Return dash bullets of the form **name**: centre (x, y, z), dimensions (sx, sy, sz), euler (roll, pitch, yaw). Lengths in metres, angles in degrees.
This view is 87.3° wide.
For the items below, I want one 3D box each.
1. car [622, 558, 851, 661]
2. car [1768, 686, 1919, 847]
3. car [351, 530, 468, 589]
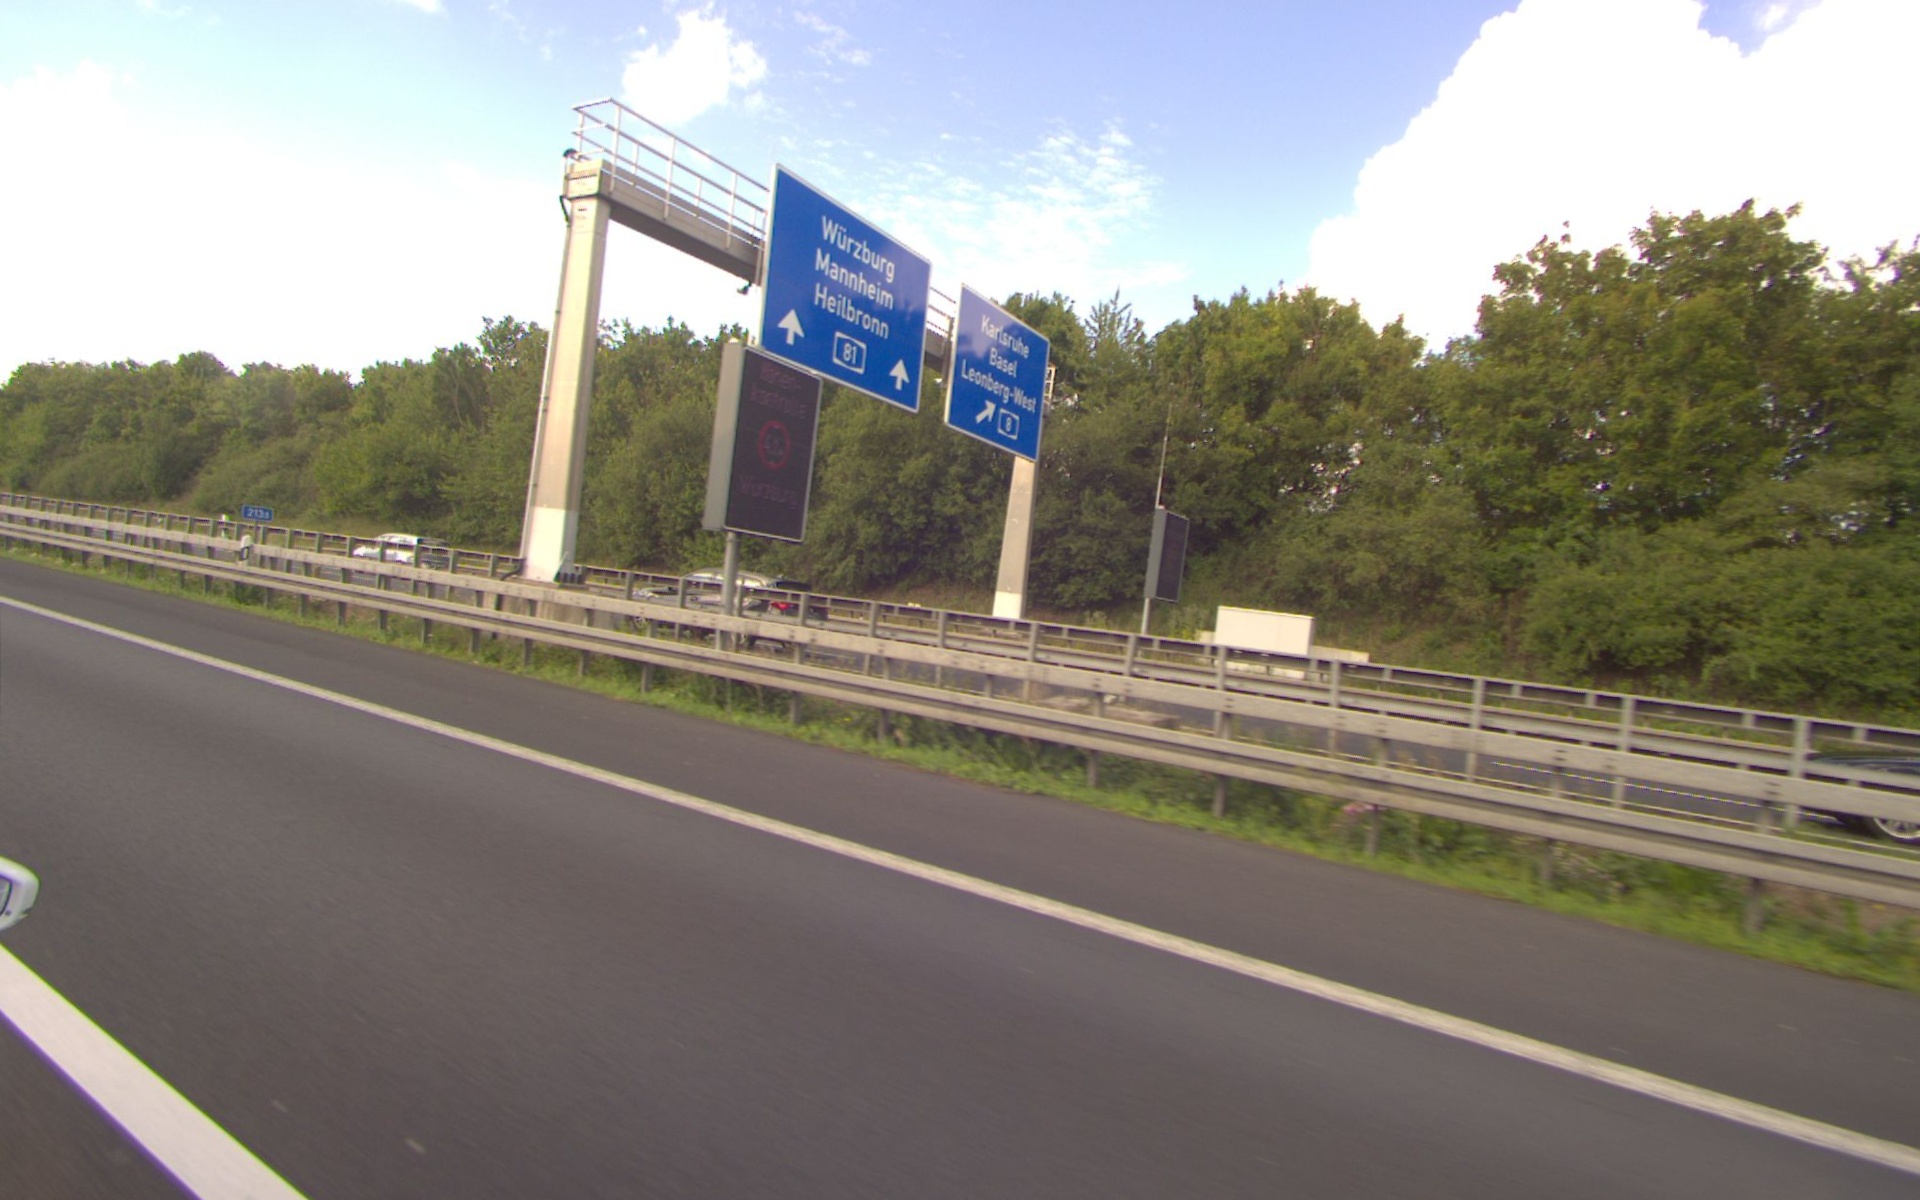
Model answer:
- **car**: centre (-4.365, 0.174, 19.539), dimensions (3.933, 1.503, 1.996), euler (6, 0, 31)
- **car**: centre (11.354, 1.942, 10.432), dimensions (4.238, 1.503, 1.996), euler (6, 0, 31)
- **car**: centre (-20.129, -1.485, 36.757), dimensions (3.934, 1.730, 1.995), euler (6, 1, 32)
